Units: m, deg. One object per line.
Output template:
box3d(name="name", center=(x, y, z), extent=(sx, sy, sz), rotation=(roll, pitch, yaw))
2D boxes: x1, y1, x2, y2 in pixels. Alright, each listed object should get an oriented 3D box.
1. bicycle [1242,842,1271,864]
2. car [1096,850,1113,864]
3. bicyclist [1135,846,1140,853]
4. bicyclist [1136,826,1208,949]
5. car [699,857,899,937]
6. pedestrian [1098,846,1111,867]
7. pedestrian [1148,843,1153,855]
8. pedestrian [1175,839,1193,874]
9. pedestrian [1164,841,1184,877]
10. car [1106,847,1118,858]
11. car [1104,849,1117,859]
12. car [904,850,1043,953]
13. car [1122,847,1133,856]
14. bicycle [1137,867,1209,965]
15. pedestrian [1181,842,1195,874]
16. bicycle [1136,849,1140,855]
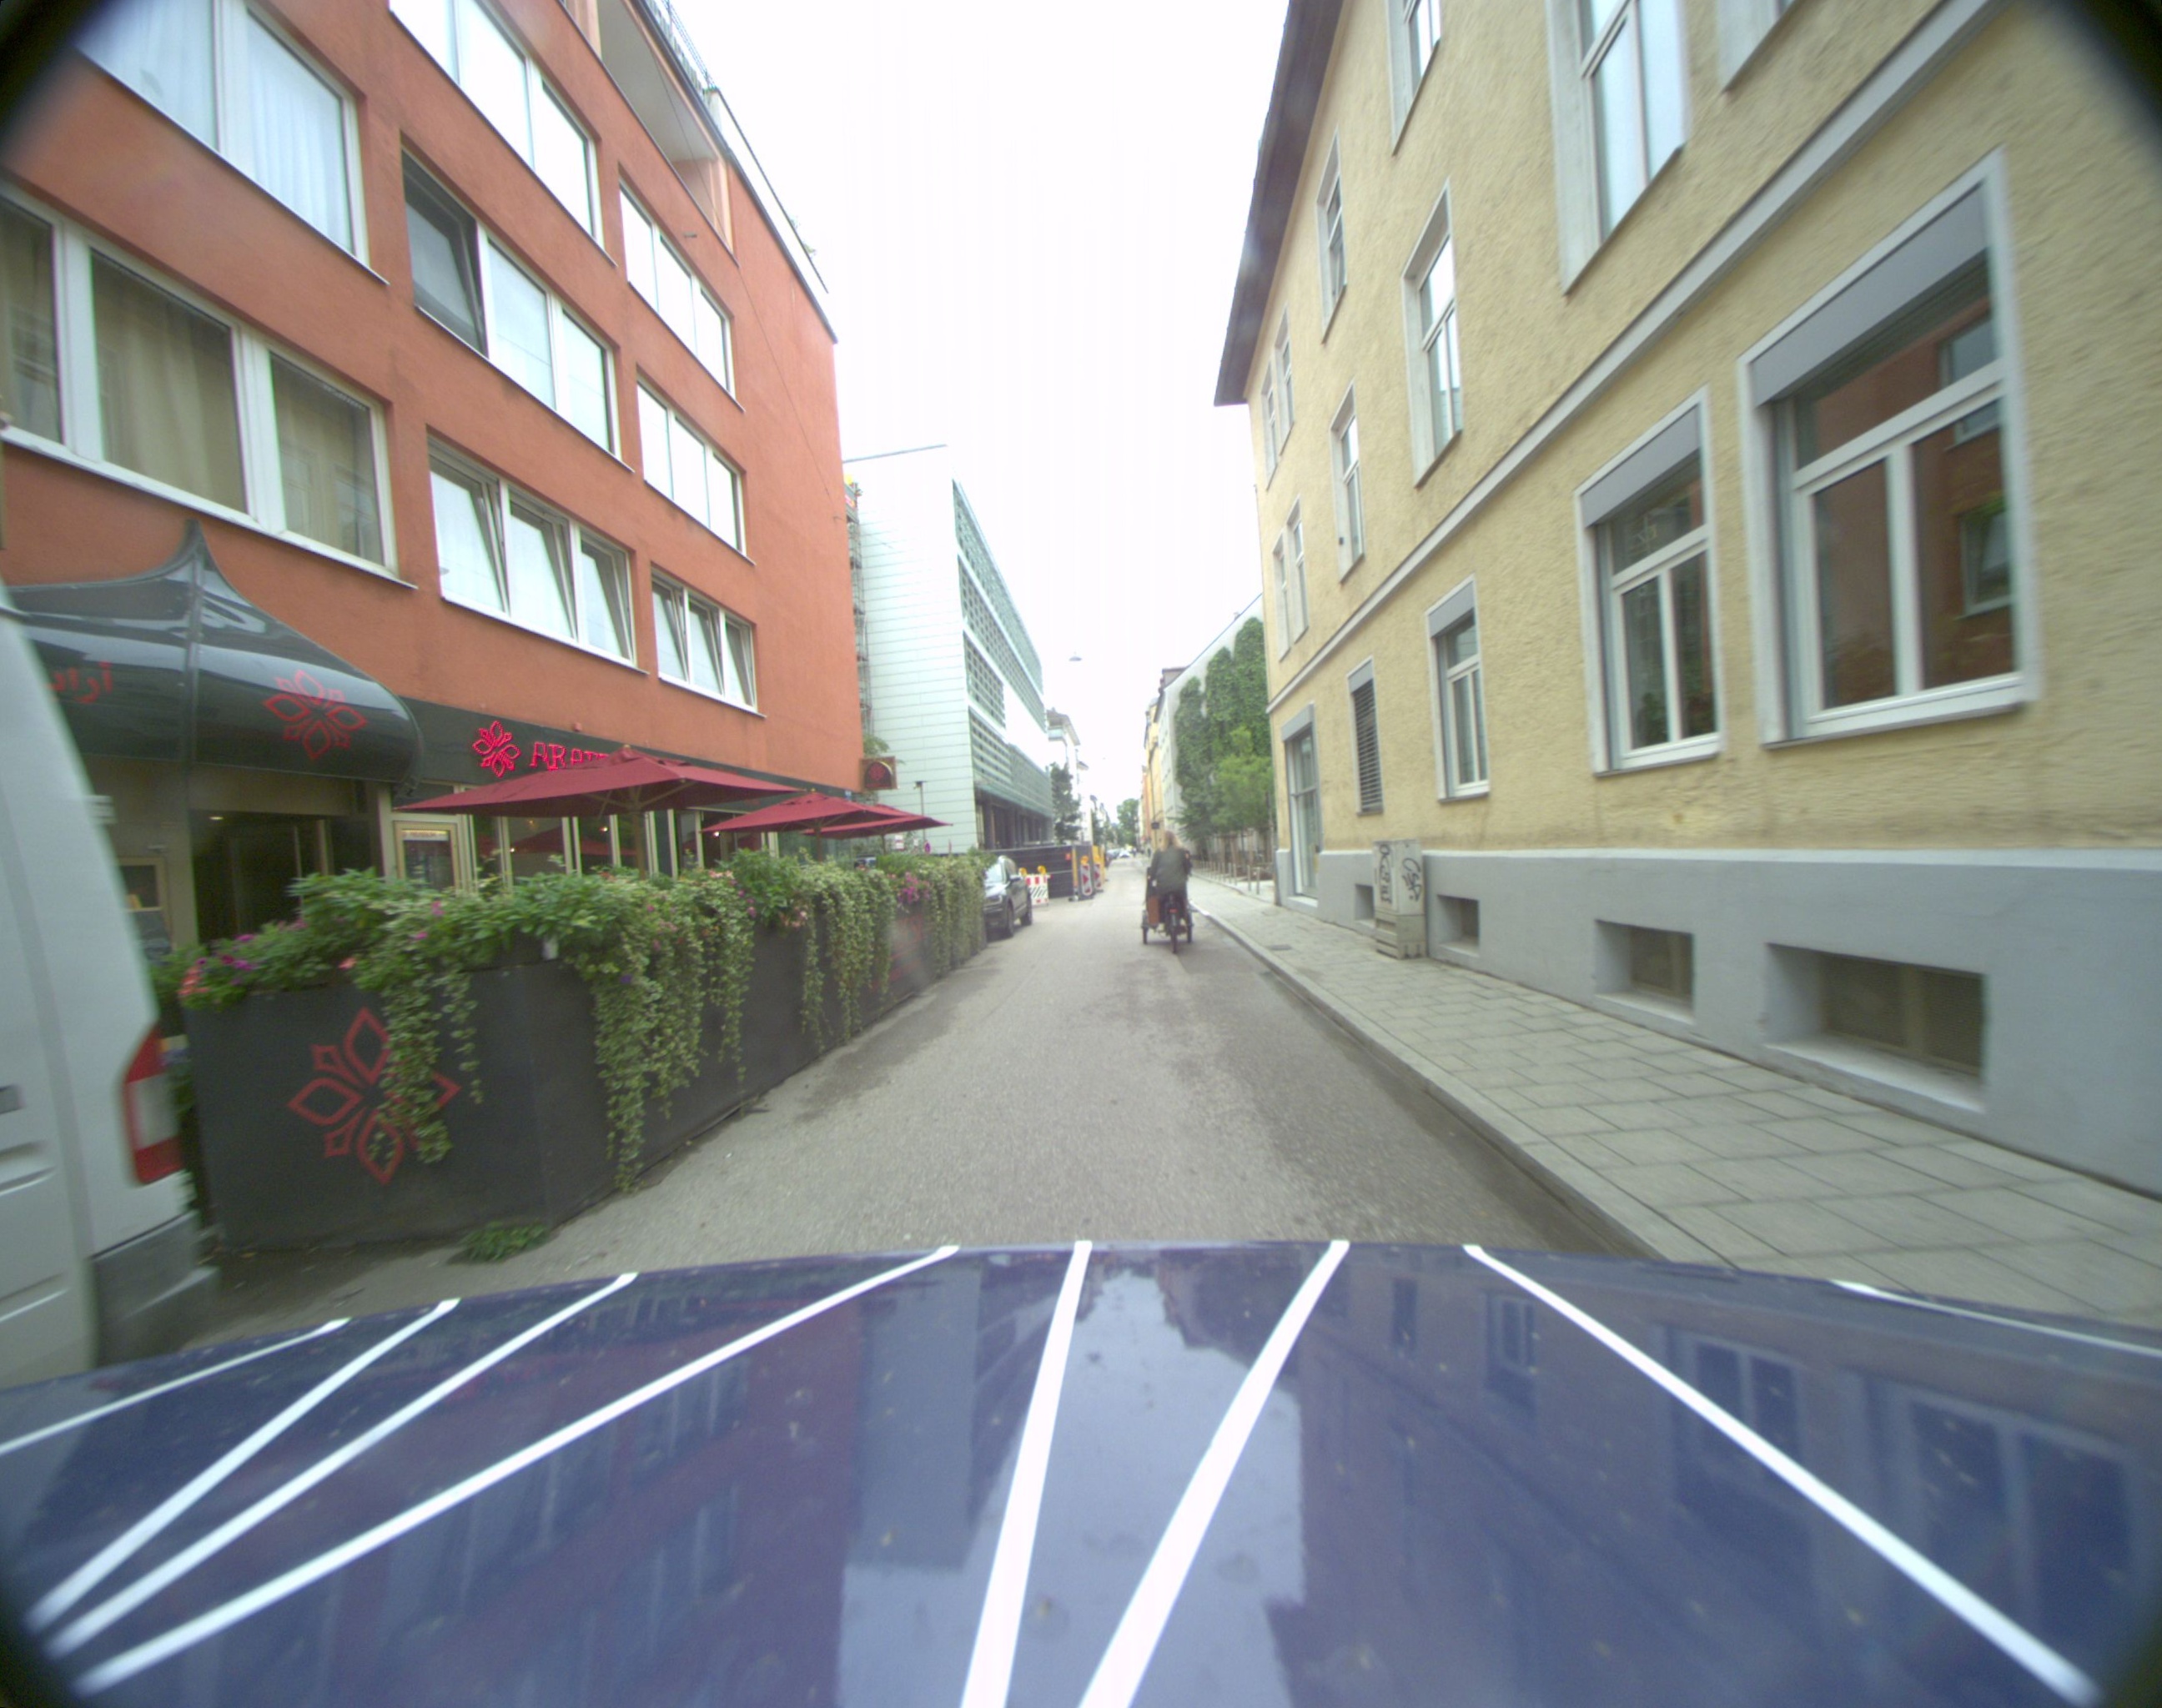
box3d(name="bicycle", center=(10.285, -0.041, 44.680), extent=(0.714, 1.201, 1.996), rotation=(-6, 1, -14))
box3d(name="car", center=(2.738, 0.308, 87.457), extent=(1.809, 1.390, 4.000), rotation=(-5, 0, 3))
box3d(name="bicyclist", center=(10.789, -0.872, 145.101), extent=(0.718, 1.399, 0.966), rotation=(-5, 1, 3))
box3d(name="bicyclist", center=(1.339, 0.481, 11.383), extent=(0.928, 1.711, 1.099), rotation=(-3, 1, 4))
box3d(name="car", center=(-7.355, 1.101, 20.106), extent=(4.472, 1.710, 1.841), rotation=(-4, 0, 4))
box3d(name="pedestrian", center=(2.204, 0.203, 70.896), extent=(0.746, 1.891, 0.877), rotation=(-6, 1, -28))
box3d(name="pedestrian", center=(10.108, -0.733, 110.521), extent=(0.493, 1.814, 0.553), rotation=(-4, 1, 3))
box3d(name="pedestrian", center=(5.712, 0.138, 42.068), extent=(0.777, 1.826, 0.991), rotation=(-5, 1, 3))
box3d(name="pedestrian", center=(4.881, 0.258, 39.827), extent=(0.860, 1.834, 0.974), rotation=(-5, 1, 5))
box3d(name="car", center=(5.199, -0.258, 126.925), extent=(1.793, 1.550, 4.000), rotation=(-5, 0, 3))
box3d(name="car", center=(4.074, 0.008, 104.369), extent=(1.625, 1.259, 4.330), rotation=(-5, 0, 3))
box3d(name="car", center=(-2.089, 0.870, 16.148), extent=(1.828, 1.700, 4.390), rotation=(-5, 0, 5))
box3d(name="car", center=(8.948, -0.465, 145.486), extent=(1.998, 1.583, 4.375), rotation=(-5, 0, 3))
box3d(name="bicycle", center=(1.395, 0.908, 11.980), extent=(0.934, 1.250, 2.414), rotation=(-3, 1, 4))
box3d(name="pedestrian", center=(5.667, 0.216, 40.336), extent=(0.553, 1.650, 0.997), rotation=(-5, 1, 3))
box3d(name="bicycle", center=(10.844, -0.371, 145.200), extent=(0.700, 0.926, 1.694), rotation=(-5, 1, 3))
